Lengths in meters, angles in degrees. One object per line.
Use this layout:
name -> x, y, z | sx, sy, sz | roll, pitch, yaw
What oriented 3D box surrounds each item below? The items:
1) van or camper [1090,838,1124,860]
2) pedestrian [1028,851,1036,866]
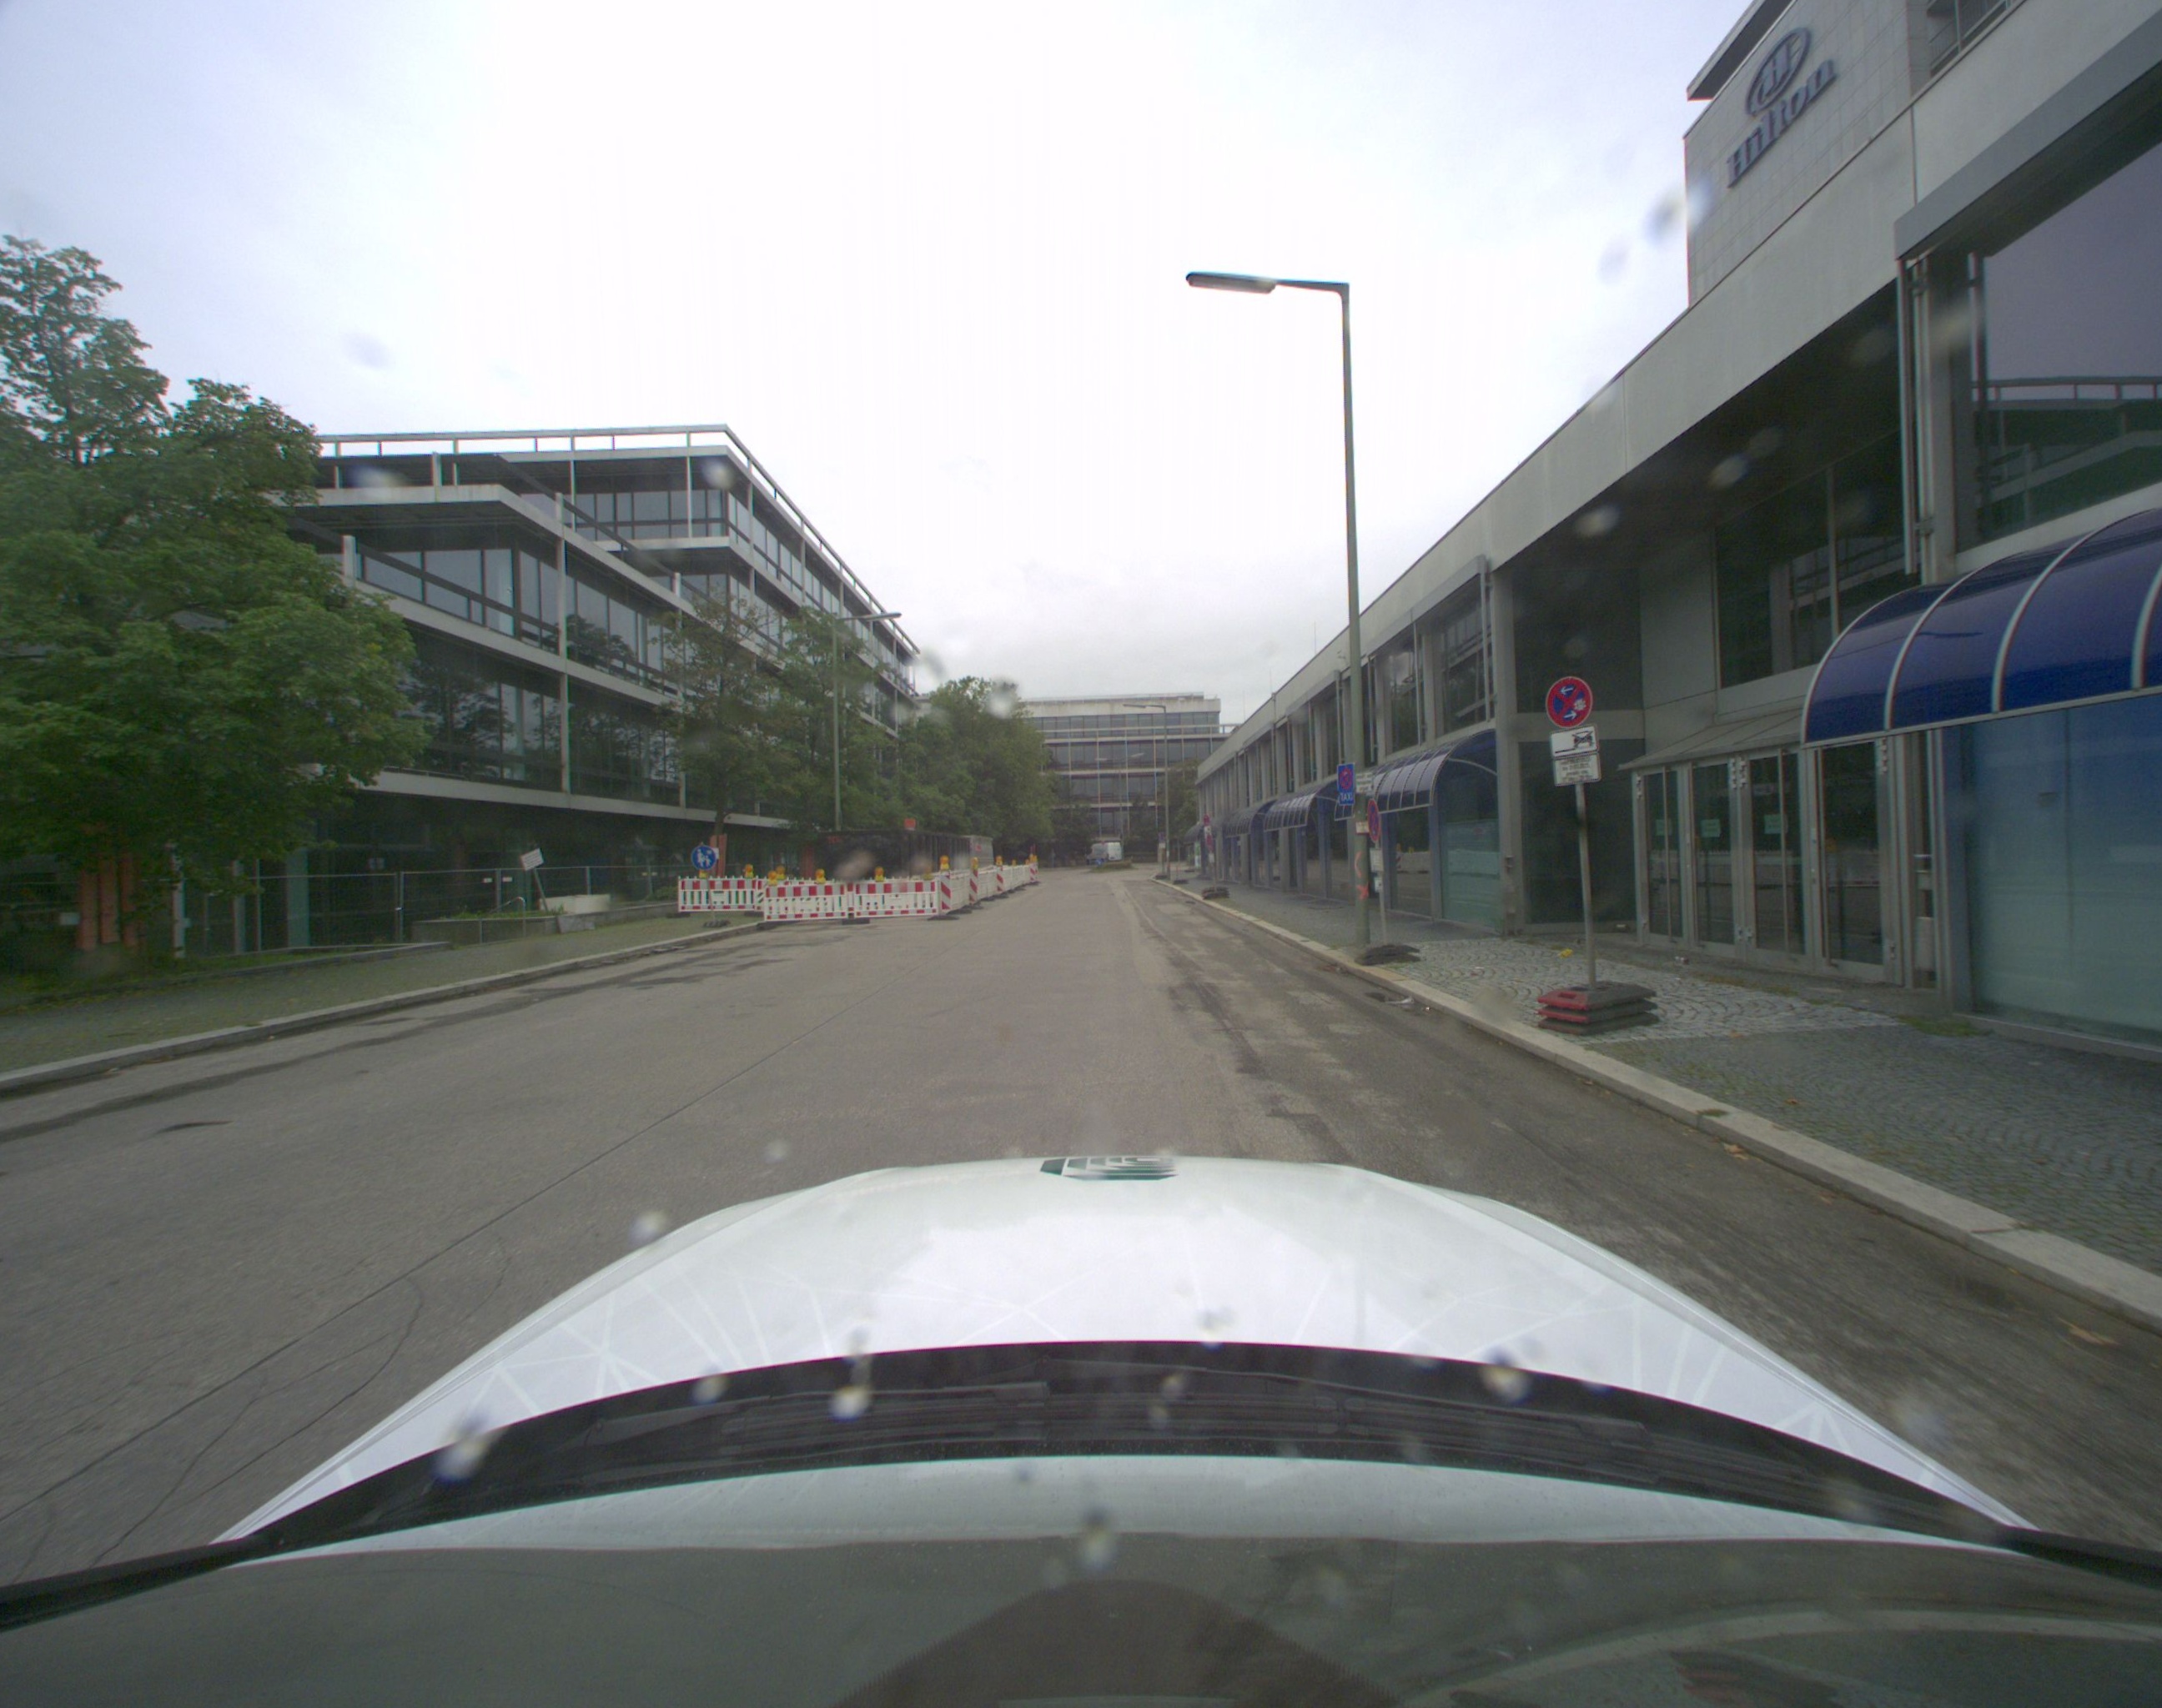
van or camper -> 3.150, -0.562, 98.747 | 2.095, 2.492, 5.026 | -2, 0, -24
pedestrian -> -5.876, 0.542, 97.636 | 0.743, 1.677, 0.678 | -2, 0, -18
